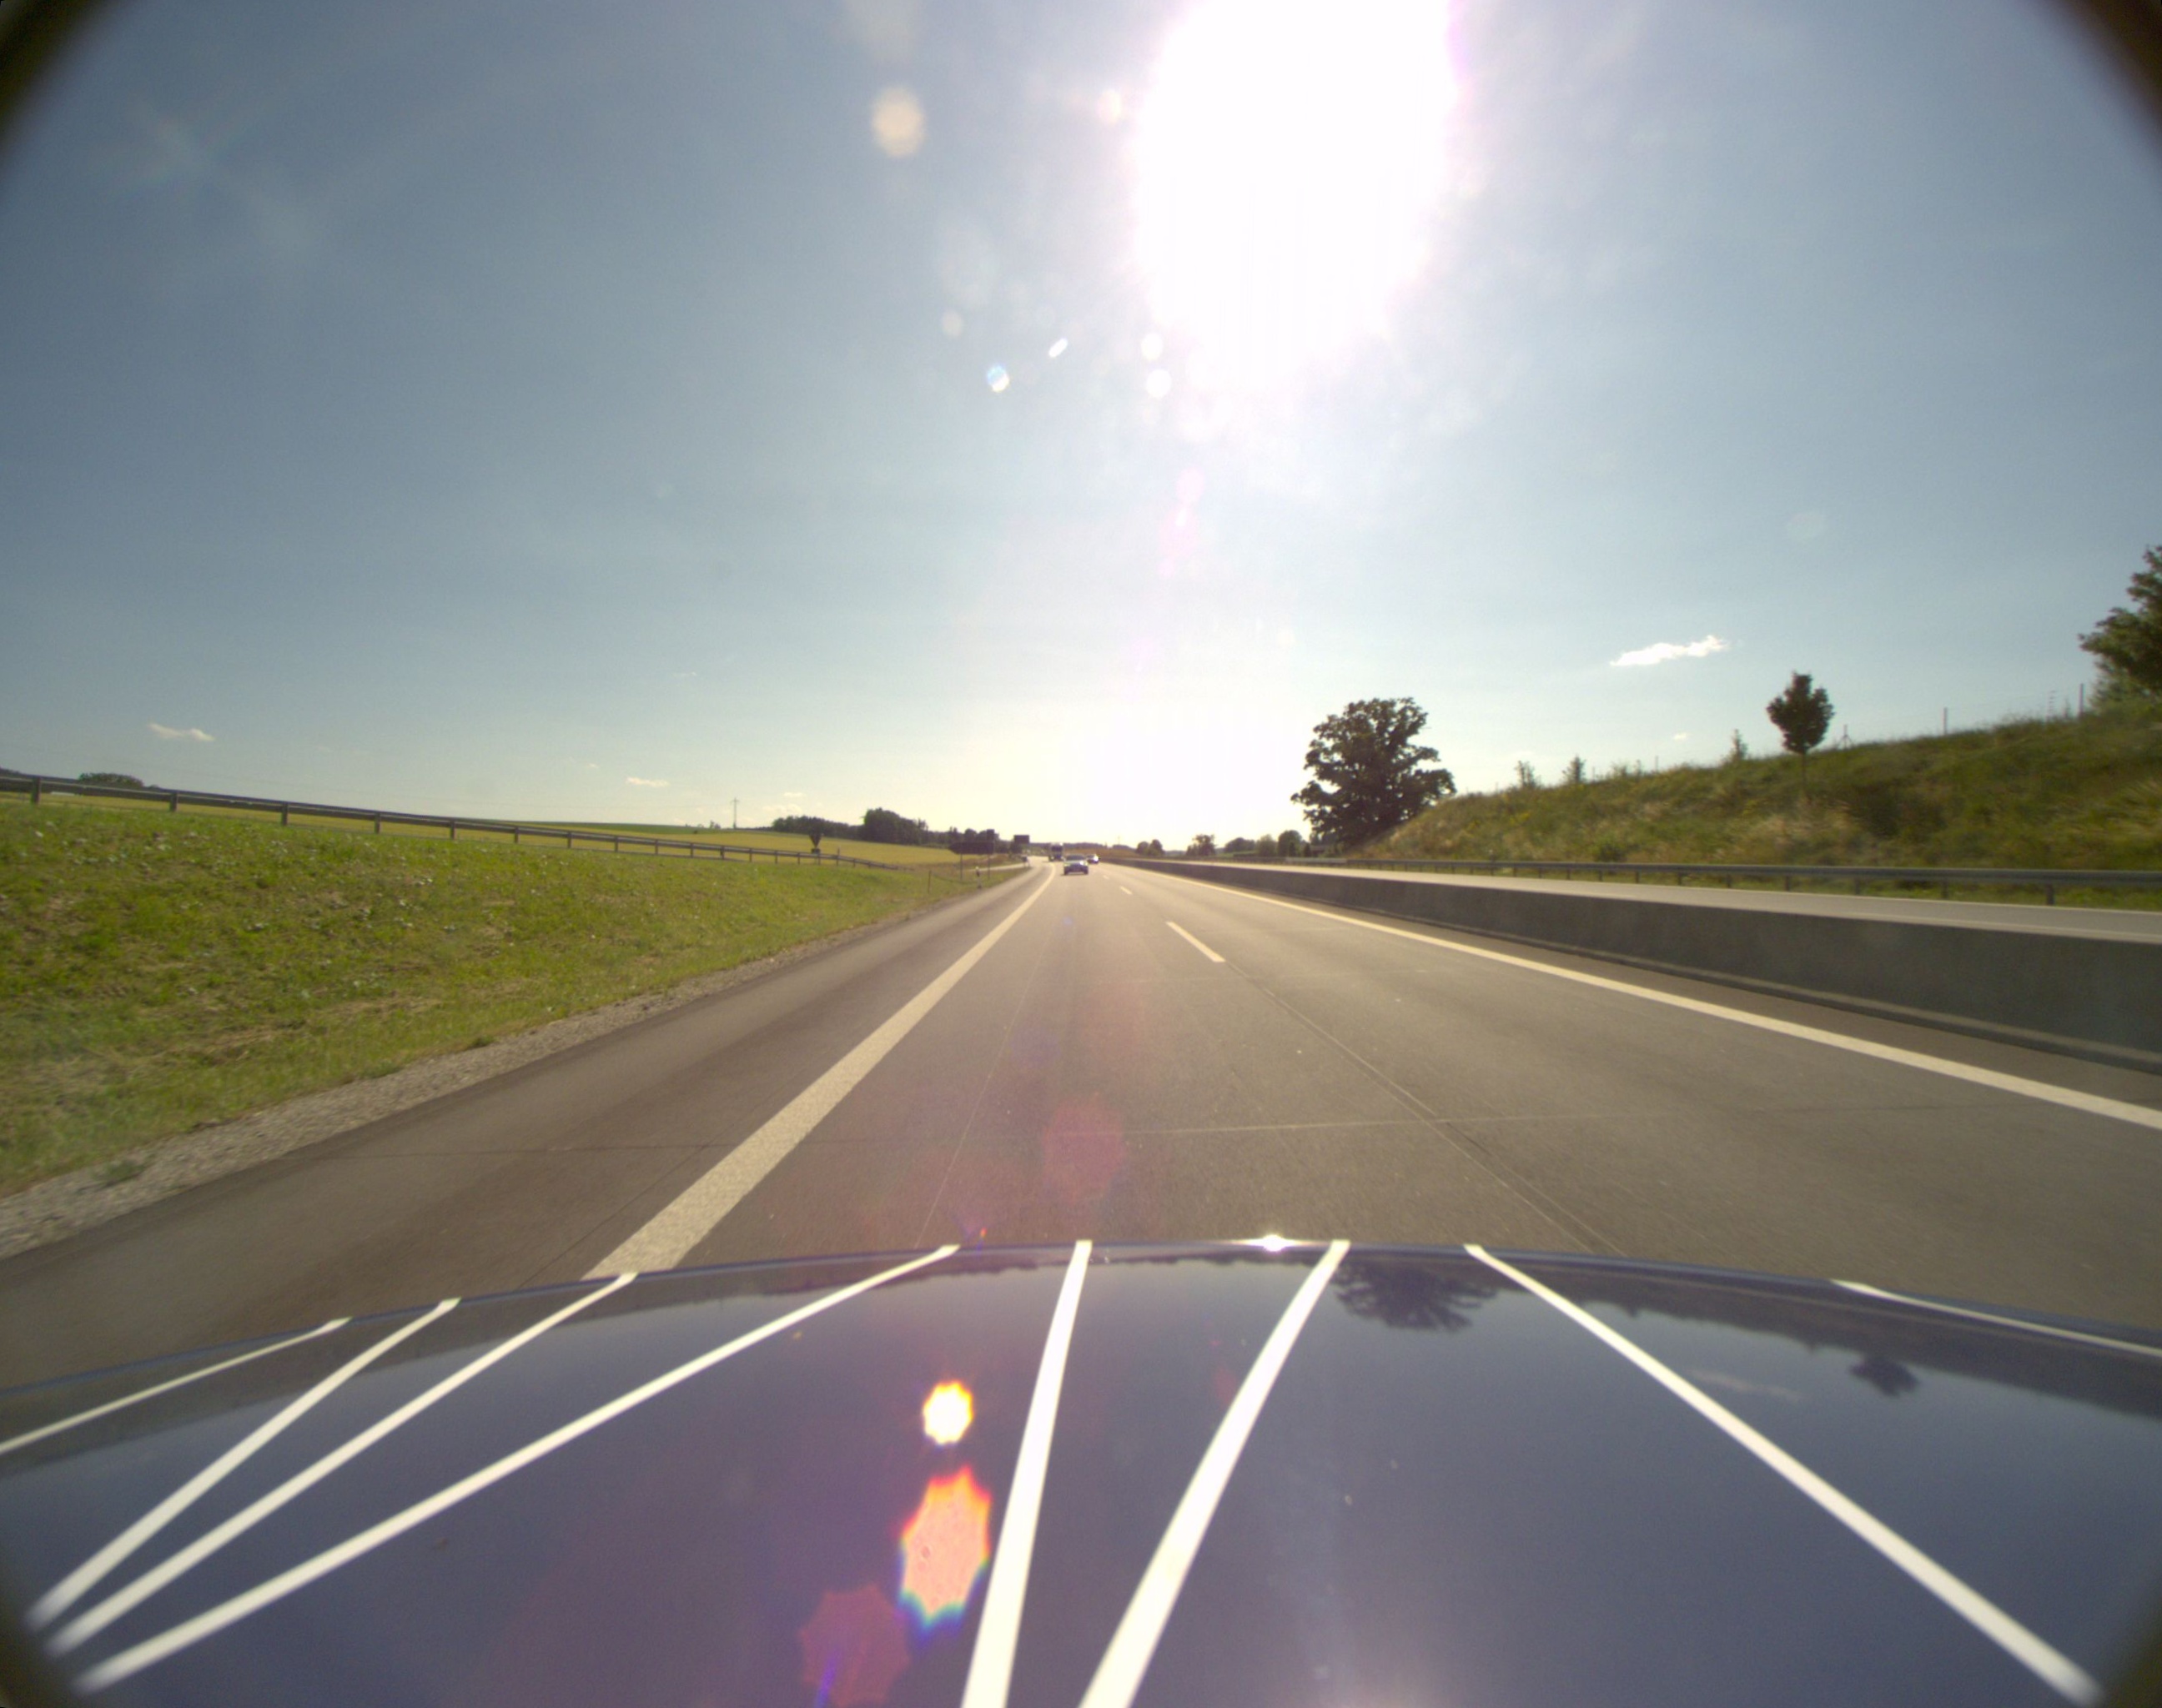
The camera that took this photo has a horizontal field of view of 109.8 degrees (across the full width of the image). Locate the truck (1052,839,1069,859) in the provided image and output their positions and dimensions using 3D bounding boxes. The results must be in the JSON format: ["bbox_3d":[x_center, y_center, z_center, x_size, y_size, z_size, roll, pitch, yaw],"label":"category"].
[{"bbox_3d":[-4.162,-1.072,156.016,3.091,3.991,6.186,-1,0,-5],"label":"truck"}]

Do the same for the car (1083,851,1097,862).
[{"bbox_3d":[1.239,0.320,110.922,1.900,1.560,3.999,-1,0,-1],"label":"car"}]

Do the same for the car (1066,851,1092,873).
[{"bbox_3d":[-0.143,0.554,58.099,1.892,1.565,3.791,-2,1,0],"label":"car"}]
